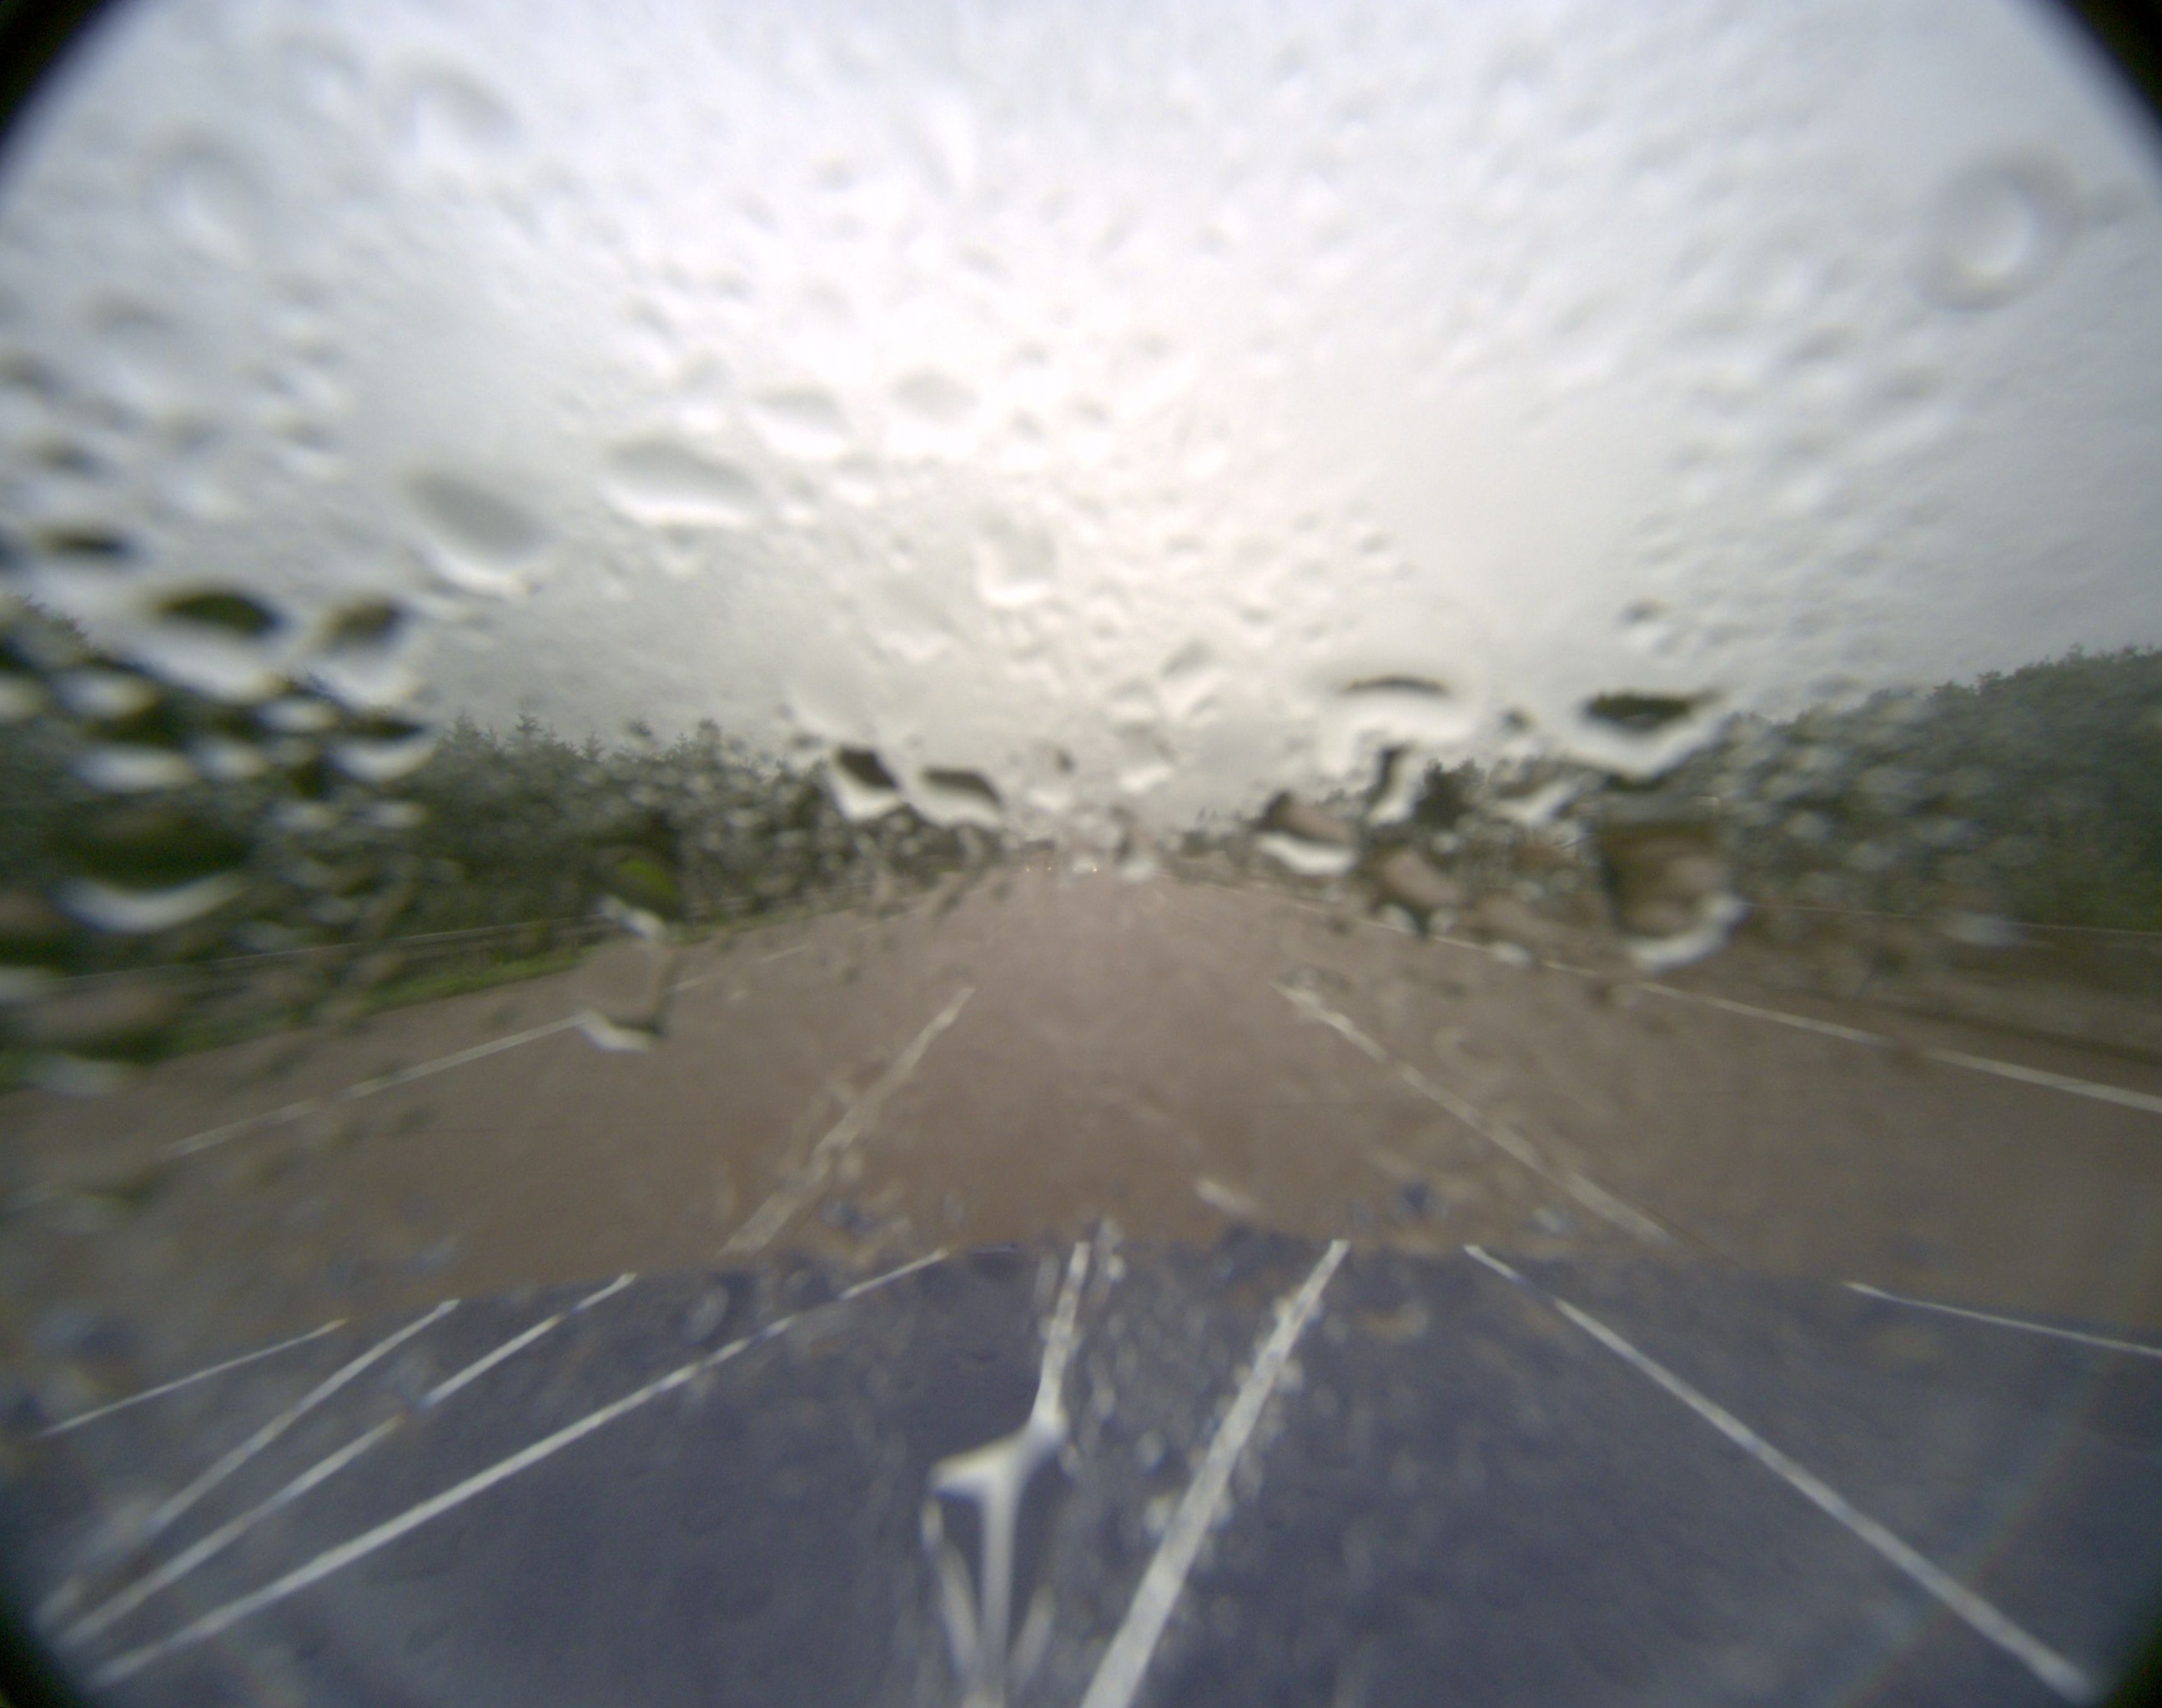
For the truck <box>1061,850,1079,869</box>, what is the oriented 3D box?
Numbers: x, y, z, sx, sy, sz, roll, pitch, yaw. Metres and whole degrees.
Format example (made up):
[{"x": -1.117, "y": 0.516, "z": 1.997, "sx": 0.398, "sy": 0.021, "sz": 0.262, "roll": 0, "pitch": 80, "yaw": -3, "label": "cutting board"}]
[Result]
[{"x": -2.102, "y": 1.102, "z": 154.349, "sx": 3.242, "sy": 3.707, "sz": 7.956, "roll": -2, "pitch": -1, "yaw": 1, "label": "truck"}]

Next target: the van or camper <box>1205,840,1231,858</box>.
[{"x": 17.515, "y": -0.636, "z": 97.375, "sx": 2.135, "sy": 2.193, "sz": 5.721, "roll": -3, "pitch": 0, "yaw": -1, "label": "van or camper"}]

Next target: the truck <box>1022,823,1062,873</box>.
[{"x": -3.288, "y": -0.403, "z": 65.818, "sx": 2.887, "sy": 4.082, "sz": 6.351, "roll": 0, "pitch": -1, "yaw": 2, "label": "truck"}]

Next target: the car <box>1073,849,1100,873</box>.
[{"x": 0.445, "y": 0.507, "z": 57.653, "sx": 1.812, "sy": 1.718, "sz": 4.744, "roll": -2, "pitch": 0, "yaw": 3, "label": "car"}]

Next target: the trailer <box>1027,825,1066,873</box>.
[{"x": -3.135, "y": -0.304, "z": 72.723, "sx": 2.859, "sy": 4.206, "sz": 13.135, "roll": 0, "pitch": -1, "yaw": 1, "label": "trailer"}]

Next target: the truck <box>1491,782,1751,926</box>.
[{"x": 19.837, "y": -0.038, "z": 29.067, "sx": 3.153, "sy": 4.446, "sz": 9.558, "roll": -3, "pitch": 0, "yaw": 1, "label": "truck"}]
